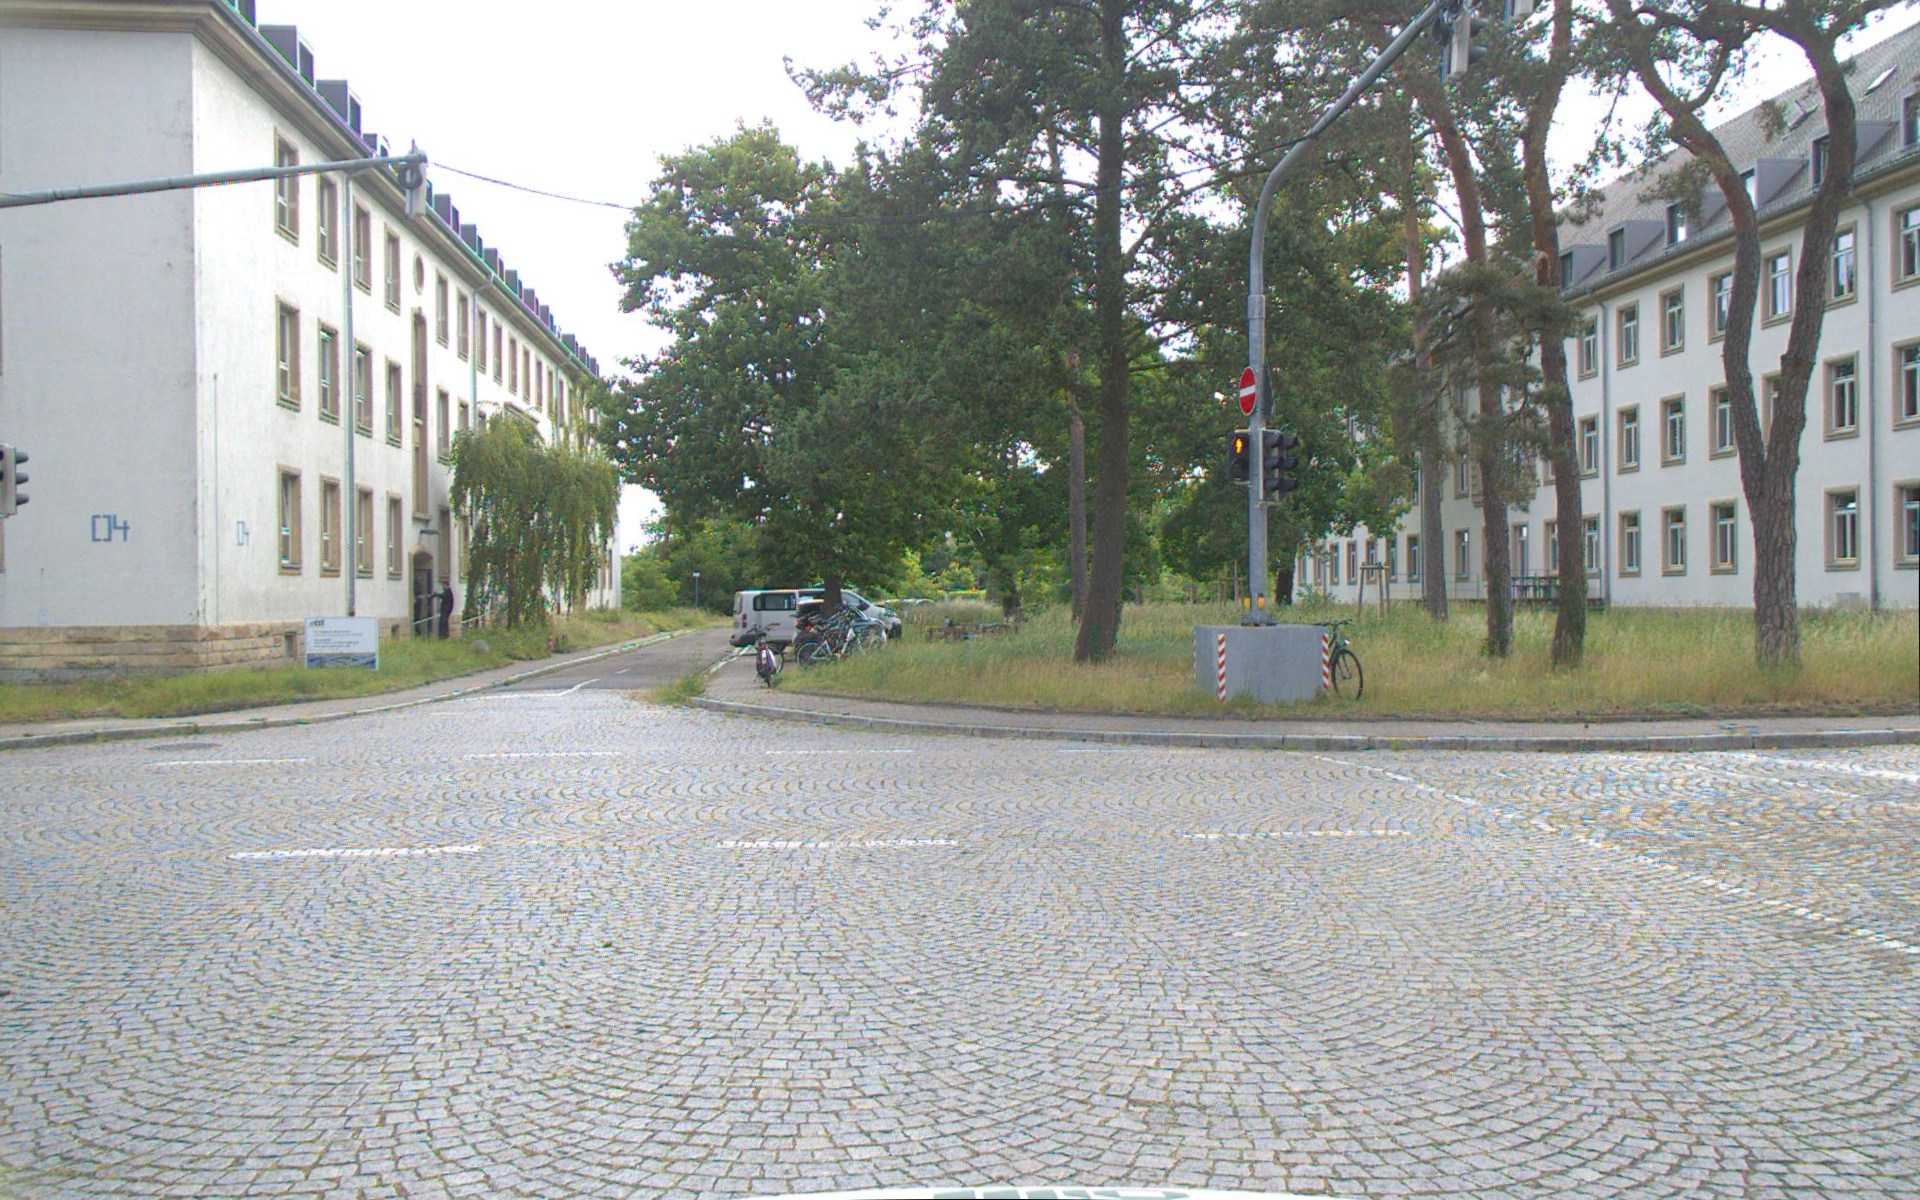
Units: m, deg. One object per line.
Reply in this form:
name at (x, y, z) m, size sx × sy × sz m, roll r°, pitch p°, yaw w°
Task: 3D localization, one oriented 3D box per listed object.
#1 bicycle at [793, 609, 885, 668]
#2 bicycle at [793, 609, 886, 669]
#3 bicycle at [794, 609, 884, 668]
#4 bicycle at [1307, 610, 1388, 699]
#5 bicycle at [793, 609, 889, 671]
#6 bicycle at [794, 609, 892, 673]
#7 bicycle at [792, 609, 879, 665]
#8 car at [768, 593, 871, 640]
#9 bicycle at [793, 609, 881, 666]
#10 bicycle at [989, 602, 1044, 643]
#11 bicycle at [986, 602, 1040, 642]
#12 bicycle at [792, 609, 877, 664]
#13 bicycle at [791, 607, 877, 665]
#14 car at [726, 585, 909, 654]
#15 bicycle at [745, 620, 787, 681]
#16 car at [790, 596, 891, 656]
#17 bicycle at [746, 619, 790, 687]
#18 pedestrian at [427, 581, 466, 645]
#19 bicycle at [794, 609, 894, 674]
bicycle at (-2.613, 0.830, 35.704) m, size 1.945 × 1.269 × 0.623 m, roll 0°, pitch -1°, yaw -7°
bicycle at (-2.556, 0.826, 35.074) m, size 1.945 × 1.269 × 0.623 m, roll 0°, pitch -1°, yaw -7°
bicycle at (-2.650, 0.833, 36.227) m, size 1.945 × 1.269 × 0.623 m, roll 0°, pitch -1°, yaw -7°
bicycle at (4.869, 0.663, 20.896) m, size 0.569 × 0.987 × 1.677 m, roll -2°, pitch 2°, yaw -1°
bicycle at (-2.470, 0.821, 34.220) m, size 1.945 × 1.269 × 0.623 m, roll 0°, pitch -1°, yaw -7°
bicycle at (-2.364, 0.816, 33.300) m, size 1.945 × 1.269 × 0.623 m, roll 0°, pitch -1°, yaw -7°
bicycle at (-2.847, 0.843, 37.805) m, size 1.945 × 1.269 × 0.623 m, roll 0°, pitch -1°, yaw -7°
car at (-5.490, 0.631, 64.472) m, size 3.954 × 1.748 × 1.678 m, roll -1°, pitch 0°, yaw -7°
bicycle at (-2.774, 0.840, 37.297) m, size 1.945 × 1.269 × 0.623 m, roll 0°, pitch -1°, yaw -7°
bicycle at (1.583, 0.624, 46.656) m, size 1.518 × 1.144 × 0.401 m, roll -1°, pitch 0°, yaw -4°
bicycle at (1.536, 0.629, 47.888) m, size 1.518 × 1.144 × 0.401 m, roll -1°, pitch 0°, yaw -4°
bicycle at (-2.913, 0.846, 38.295) m, size 1.945 × 1.269 × 0.623 m, roll 0°, pitch -1°, yaw -7°
bicycle at (-2.979, 0.850, 38.950) m, size 1.945 × 1.269 × 0.623 m, roll -2°, pitch 0°, yaw -7°
car at (-4.367, 0.572, 50.643) m, size 5.226 × 1.949 × 2.137 m, roll -1°, pitch 0°, yaw -20°
bicycle at (-3.638, 0.942, 31.121) m, size 0.609 × 1.101 × 1.677 m, roll 0°, pitch 0°, yaw -1°
car at (-3.432, 0.737, 47.243) m, size 2.792 × 1.585 × 1.470 m, roll -1°, pitch 1°, yaw -6°
bicycle at (-3.379, 0.915, 29.184) m, size 0.610 × 1.133 × 1.988 m, roll 0°, pitch 0°, yaw -2°
pedestrian at (-14.723, 0.367, 47.461) m, size 0.820 × 1.812 × 0.941 m, roll -1°, pitch 0°, yaw 0°
bicycle at (-2.301, 0.812, 32.675) m, size 1.945 × 1.269 × 0.623 m, roll 0°, pitch -1°, yaw -7°
